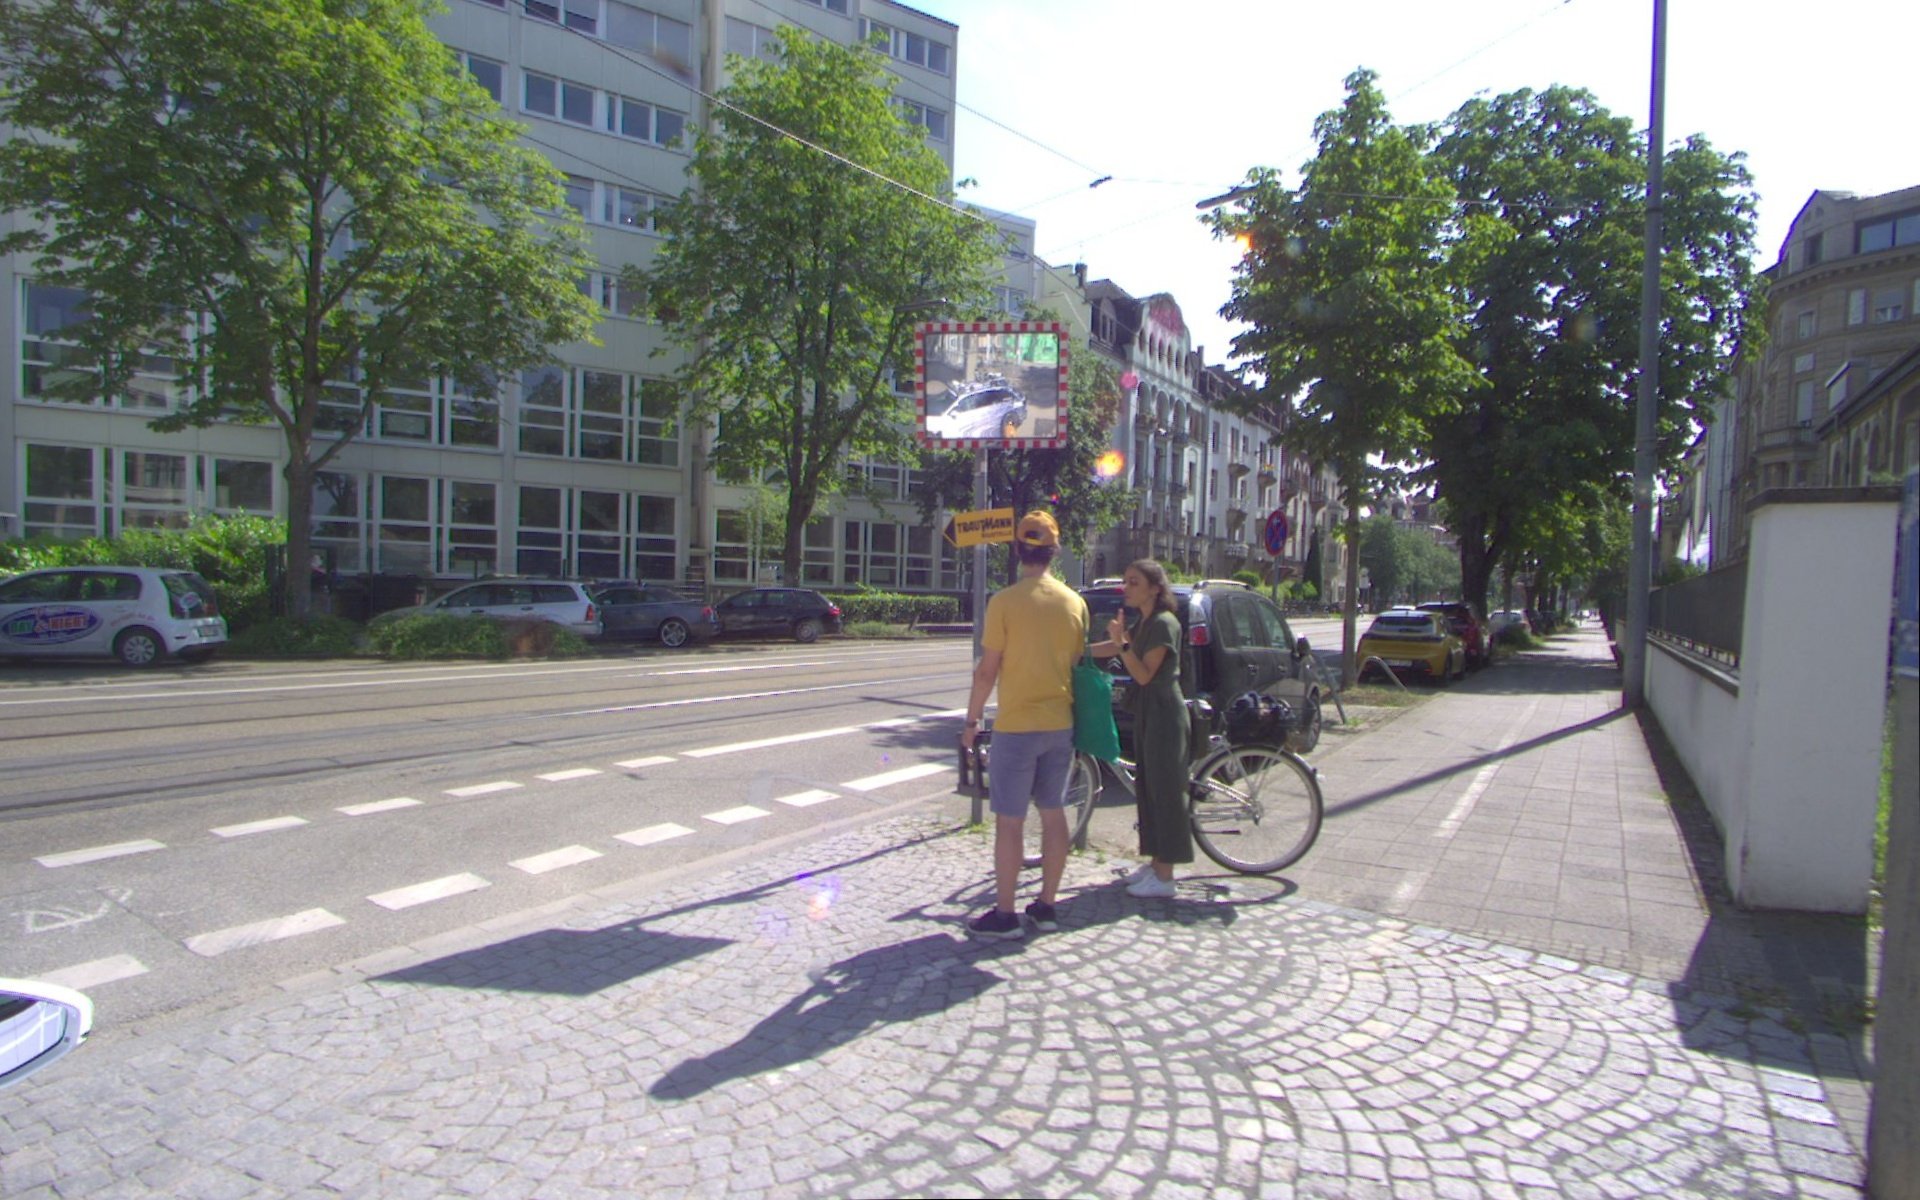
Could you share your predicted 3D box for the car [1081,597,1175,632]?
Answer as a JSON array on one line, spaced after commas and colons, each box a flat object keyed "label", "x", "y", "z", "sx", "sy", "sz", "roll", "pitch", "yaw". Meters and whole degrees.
[{"label": "car", "x": 8.050, "y": 0.696, "z": 48.149, "sx": 3.927, "sy": 1.528, "sz": 1.997, "roll": 1, "pitch": 1, "yaw": -13}]

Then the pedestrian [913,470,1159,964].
[{"label": "pedestrian", "x": 0.359, "y": 0.440, "z": 4.348, "sx": 0.839, "sy": 1.890, "sz": 0.828, "roll": 2, "pitch": 1, "yaw": 19}]

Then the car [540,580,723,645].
[{"label": "car", "x": -7.521, "y": 0.278, "z": 23.262, "sx": 3.873, "sy": 1.375, "sz": 1.556, "roll": 2, "pitch": 1, "yaw": -13}]

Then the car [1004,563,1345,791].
[{"label": "car", "x": 2.259, "y": 0.573, "z": 9.678, "sx": 1.831, "sy": 1.706, "sz": 3.976, "roll": 2, "pitch": 1, "yaw": 34}]

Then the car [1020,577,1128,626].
[{"label": "car", "x": 4.681, "y": 0.051, "z": 41.247, "sx": 3.932, "sy": 1.885, "sz": 1.994, "roll": 1, "pitch": 1, "yaw": -20}]

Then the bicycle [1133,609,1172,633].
[{"label": "bicycle", "x": 8.008, "y": 0.858, "z": 41.515, "sx": 0.671, "sy": 0.929, "sz": 2.306, "roll": 3, "pitch": 2, "yaw": 35}]

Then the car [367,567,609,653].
[{"label": "car", "x": -9.549, "y": 0.221, "z": 20.608, "sx": 4.267, "sy": 1.625, "sz": 1.556, "roll": 1, "pitch": 1, "yaw": -15}]

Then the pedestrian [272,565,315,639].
[{"label": "pedestrian", "x": -13.778, "y": 0.039, "z": 20.715, "sx": 0.418, "sy": 1.480, "sz": 0.619, "roll": 3, "pitch": 2, "yaw": 30}]

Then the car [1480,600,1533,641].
[{"label": "car", "x": 24.410, "y": 0.887, "z": 44.659, "sx": 1.829, "sy": 1.702, "sz": 3.980, "roll": 2, "pitch": 1, "yaw": 32}]

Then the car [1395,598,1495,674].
[{"label": "car", "x": 12.243, "y": 0.832, "z": 25.146, "sx": 1.829, "sy": 1.702, "sz": 3.980, "roll": 2, "pitch": 1, "yaw": 32}]

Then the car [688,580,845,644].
[{"label": "car", "x": -5.030, "y": 0.305, "z": 26.086, "sx": 3.873, "sy": 1.506, "sz": 1.556, "roll": 2, "pitch": 1, "yaw": -13}]

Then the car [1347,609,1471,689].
[{"label": "car", "x": 9.407, "y": 0.929, "z": 20.819, "sx": 1.829, "sy": 1.431, "sz": 3.980, "roll": 2, "pitch": 1, "yaw": 32}]

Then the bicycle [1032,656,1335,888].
[{"label": "bicycle", "x": 1.158, "y": 0.871, "z": 5.301, "sx": 1.485, "sy": 1.055, "sz": 0.363, "roll": 2, "pitch": 2, "yaw": 15}]

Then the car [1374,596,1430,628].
[{"label": "car", "x": 21.749, "y": 0.569, "z": 49.186, "sx": 1.864, "sy": 1.427, "sz": 4.569, "roll": 4, "pitch": 2, "yaw": 32}]

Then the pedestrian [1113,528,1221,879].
[{"label": "pedestrian", "x": 1.032, "y": 0.482, "z": 4.954, "sx": 0.445, "sy": 1.643, "sz": 0.421, "roll": 2, "pitch": 2, "yaw": 15}]

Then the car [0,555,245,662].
[{"label": "car", "x": -13.251, "y": 0.110, "z": 14.922, "sx": 3.872, "sy": 1.506, "sz": 1.611, "roll": 1, "pitch": 1, "yaw": -11}]

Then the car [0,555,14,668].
[{"label": "car", "x": -14.584, "y": 0.109, "z": 12.417, "sx": 3.871, "sy": 1.506, "sz": 1.611, "roll": 2, "pitch": 1, "yaw": -11}]

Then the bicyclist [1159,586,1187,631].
[{"label": "bicyclist", "x": 8.704, "y": 0.347, "z": 40.908, "sx": 0.794, "sy": 1.825, "sz": 0.858, "roll": 3, "pitch": 2, "yaw": 36}]

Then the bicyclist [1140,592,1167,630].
[{"label": "bicyclist", "x": 8.011, "y": 0.446, "z": 41.474, "sx": 0.794, "sy": 1.563, "sz": 0.858, "roll": 3, "pitch": 2, "yaw": 36}]
